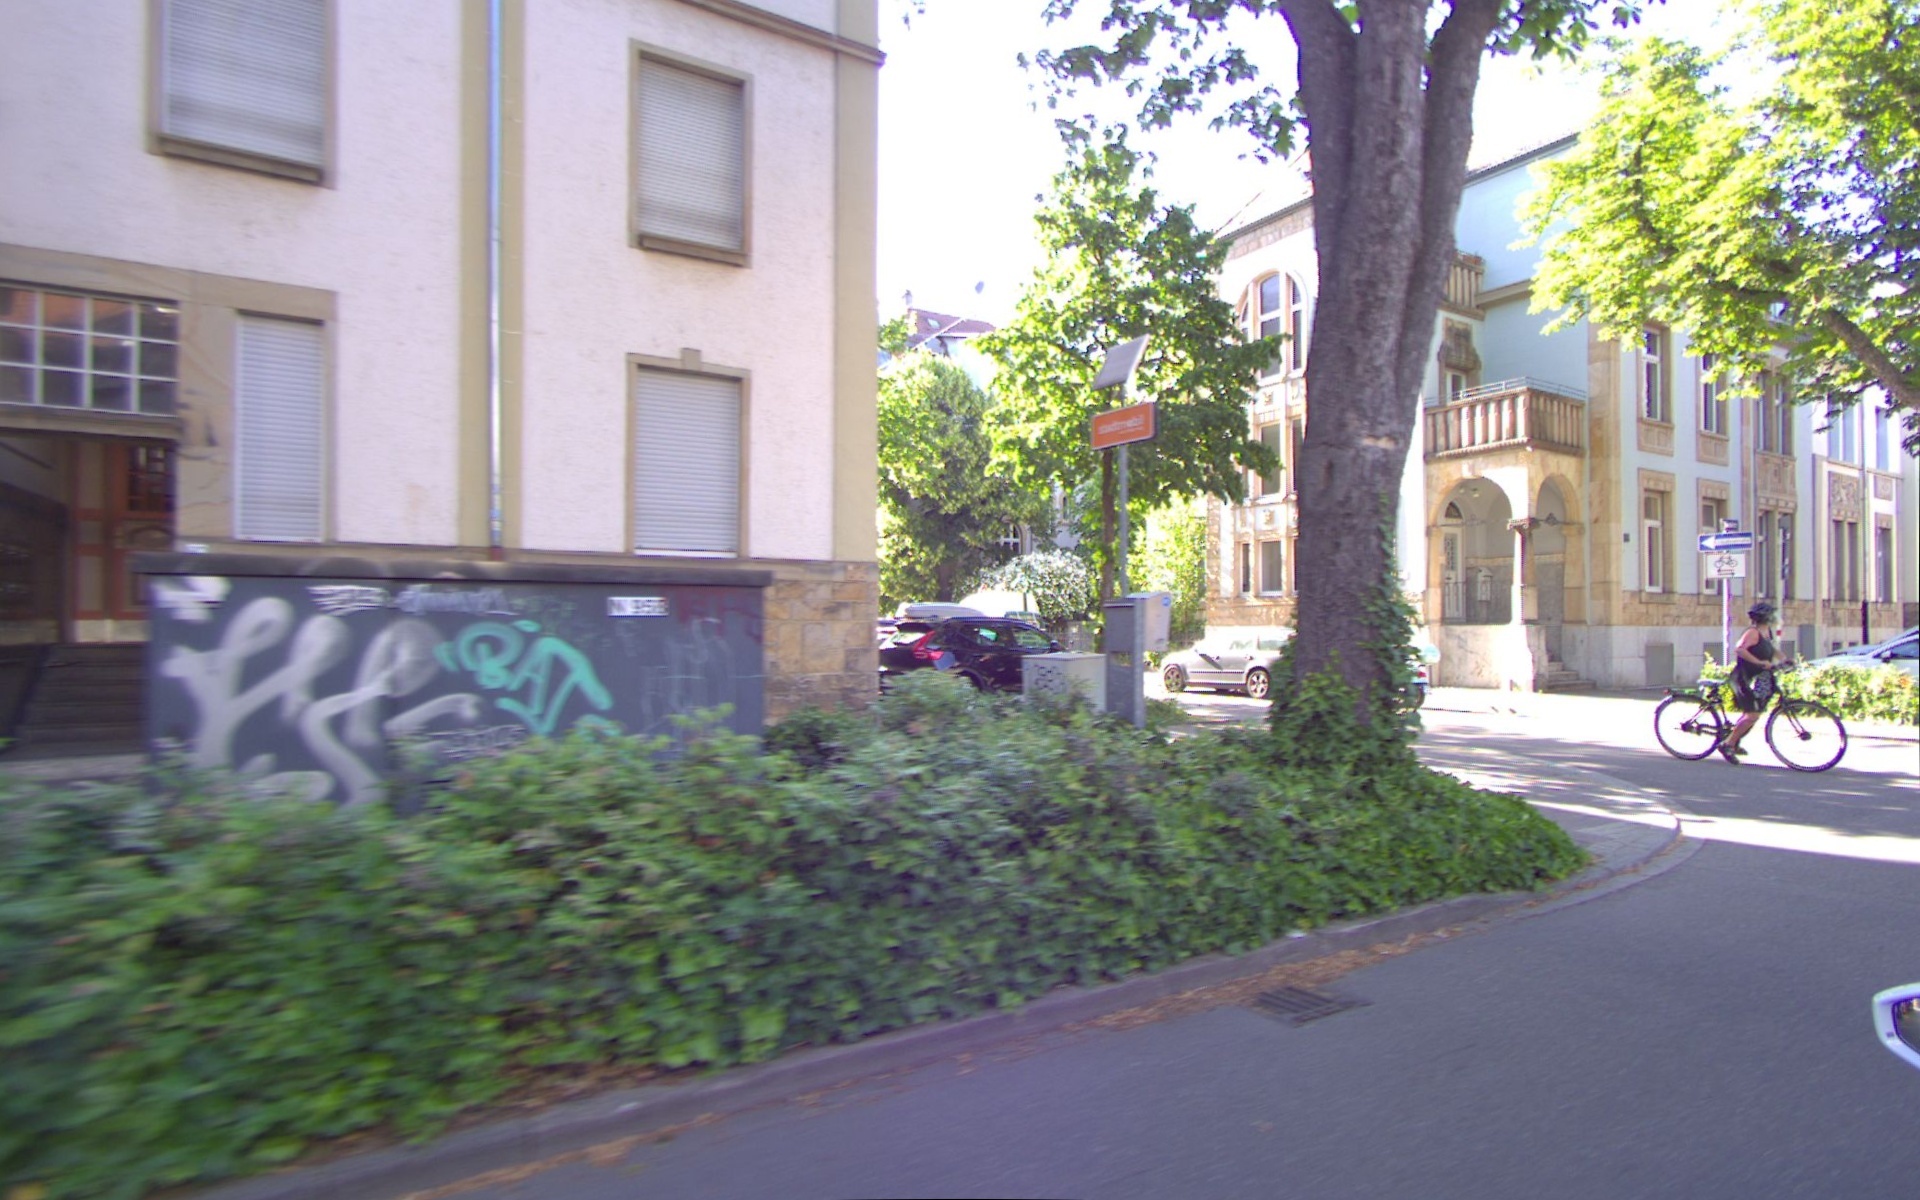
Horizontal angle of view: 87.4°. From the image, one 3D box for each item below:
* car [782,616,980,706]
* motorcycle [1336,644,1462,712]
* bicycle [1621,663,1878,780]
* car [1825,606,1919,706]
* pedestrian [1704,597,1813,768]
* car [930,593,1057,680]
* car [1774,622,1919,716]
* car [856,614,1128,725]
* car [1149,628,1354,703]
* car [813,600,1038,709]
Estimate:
[{"bbox_3d":[-1.669,1.232,21.404,3.846,1.757,1.787,1,-2,-31],"label":"car"},{"bbox_3d":[8.382,1.465,19.293,0.886,1.191,2.207,3,-3,-22],"label":"motorcycle"},{"bbox_3d":[8.285,1.223,10.663,0.750,1.080,1.984,0,-3,-27],"label":"bicycle"},{"bbox_3d":[18.471,1.064,18.171,1.780,1.784,3.961,2,0,-35],"label":"car"},{"bbox_3d":[8.360,0.841,10.527,0.644,1.716,0.628,0,-3,-28],"label":"pedestrian"},{"bbox_3d":[0.980,1.136,31.672,1.784,2.531,4.379,1,-2,-34],"label":"car"},{"bbox_3d":[16.598,1.197,17.059,1.780,1.483,3.961,2,0,-35],"label":"car"},{"bbox_3d":[0.562,1.084,16.909,4.201,1.661,1.984,1,-2,-31],"label":"car"},{"bbox_3d":[6.306,1.368,22.260,1.781,1.484,4.385,1,-2,-30],"label":"car"},{"bbox_3d":[-0.647,1.006,19.580,3.954,1.924,1.984,1,-2,-31],"label":"car"}]
